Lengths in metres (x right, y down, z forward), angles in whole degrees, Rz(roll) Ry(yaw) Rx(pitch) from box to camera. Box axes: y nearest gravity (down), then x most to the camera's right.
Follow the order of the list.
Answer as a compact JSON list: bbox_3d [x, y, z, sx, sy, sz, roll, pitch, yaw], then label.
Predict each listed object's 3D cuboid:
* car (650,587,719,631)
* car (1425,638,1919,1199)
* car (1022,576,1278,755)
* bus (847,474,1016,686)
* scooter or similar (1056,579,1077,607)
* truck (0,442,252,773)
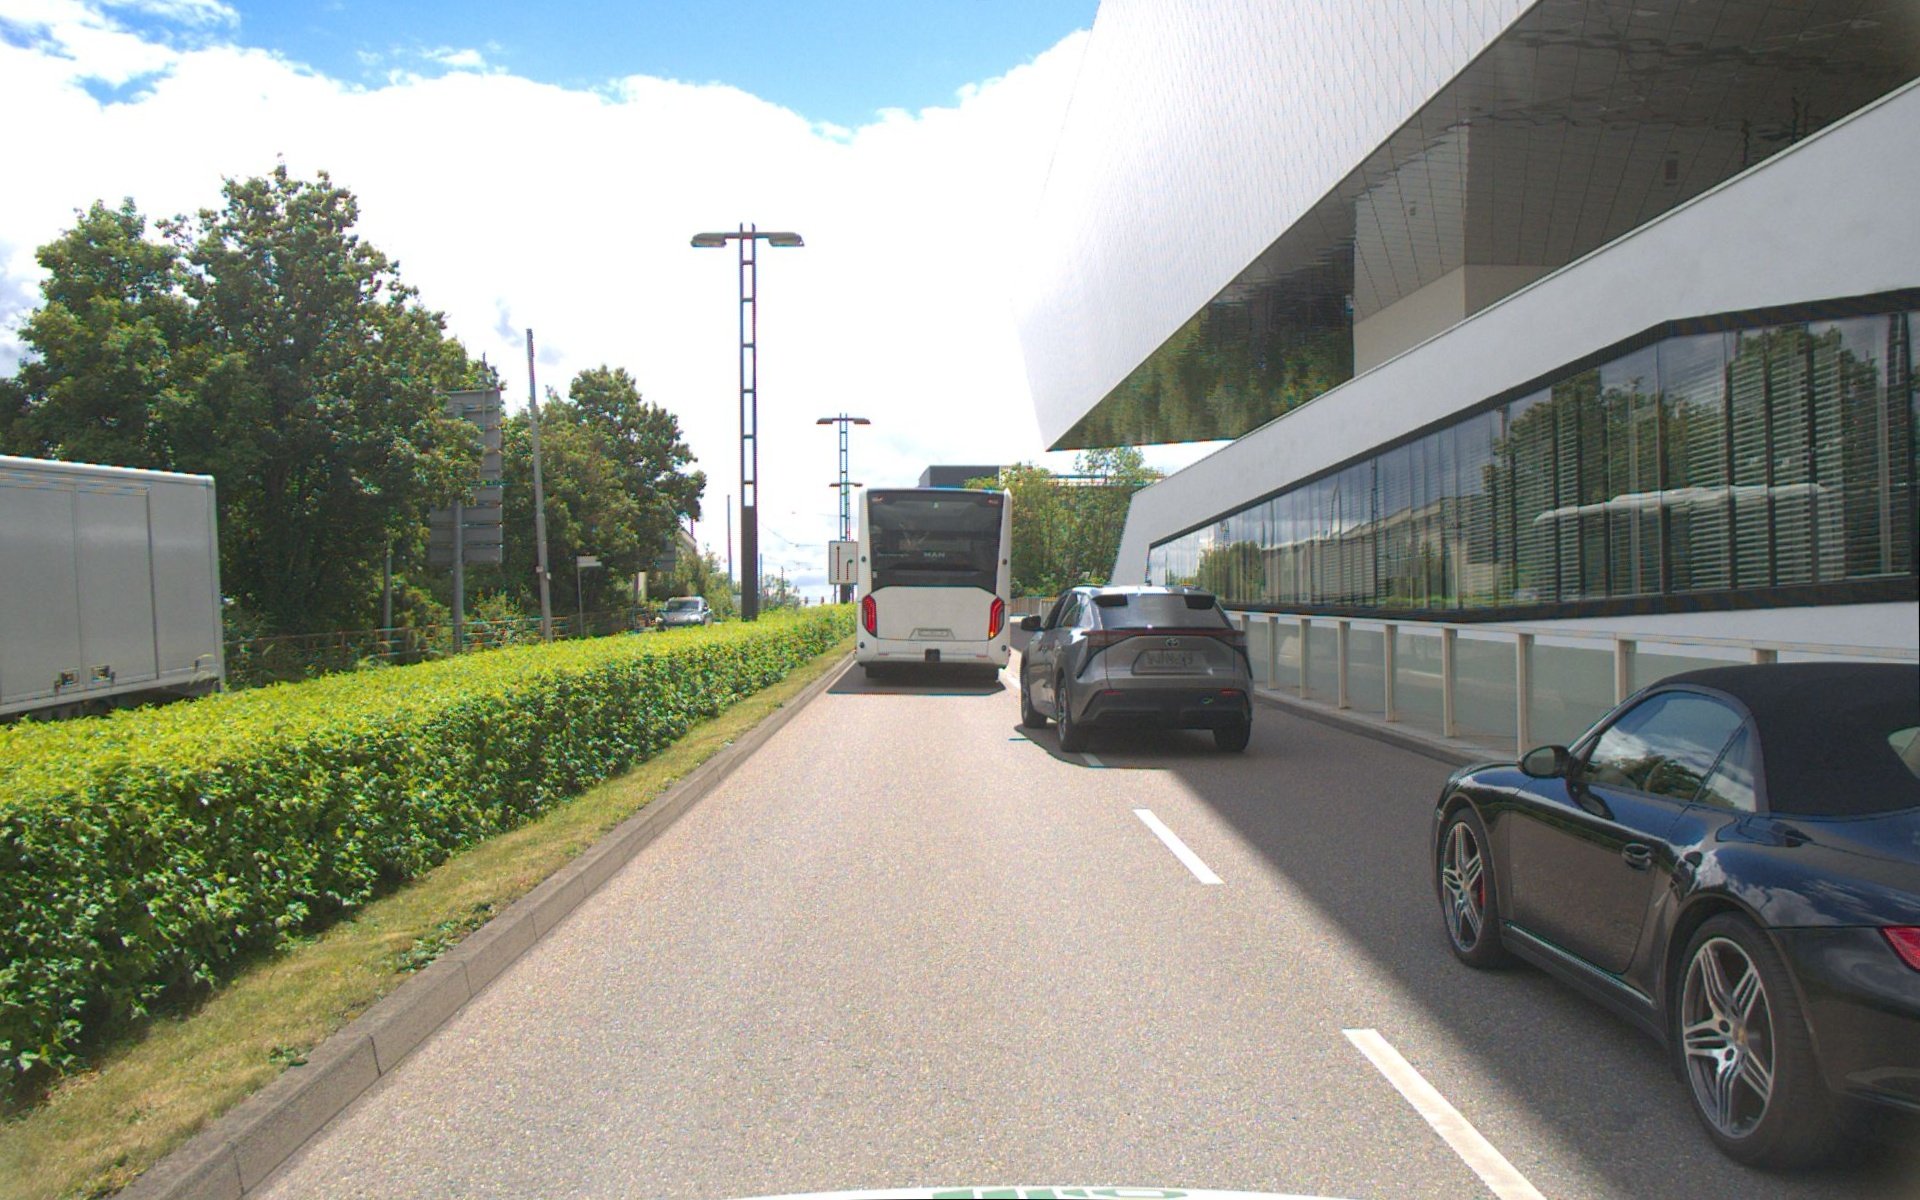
[{"bbox_3d":[-10.254,0.321,61.920,1.802,1.534,4.561,-1,0,0],"label":"car"},{"bbox_3d":[3.010,0.817,5.486,1.685,1.297,4.086,0,0,-2],"label":"car"},{"bbox_3d":[1.822,0.611,17.194,1.843,1.622,4.225,1,0,-5],"label":"car"},{"bbox_3d":[-0.576,-0.410,32.186,2.634,3.312,12.055,1,1,-1],"label":"bus"},{"bbox_3d":[4.795,-0.319,74.337,0.640,1.235,1.855,-1,0,-5],"label":"scooter or similar"},{"bbox_3d":[-9.852,0.070,15.047,2.797,2.907,9.377,-1,2,0],"label":"truck"}]
